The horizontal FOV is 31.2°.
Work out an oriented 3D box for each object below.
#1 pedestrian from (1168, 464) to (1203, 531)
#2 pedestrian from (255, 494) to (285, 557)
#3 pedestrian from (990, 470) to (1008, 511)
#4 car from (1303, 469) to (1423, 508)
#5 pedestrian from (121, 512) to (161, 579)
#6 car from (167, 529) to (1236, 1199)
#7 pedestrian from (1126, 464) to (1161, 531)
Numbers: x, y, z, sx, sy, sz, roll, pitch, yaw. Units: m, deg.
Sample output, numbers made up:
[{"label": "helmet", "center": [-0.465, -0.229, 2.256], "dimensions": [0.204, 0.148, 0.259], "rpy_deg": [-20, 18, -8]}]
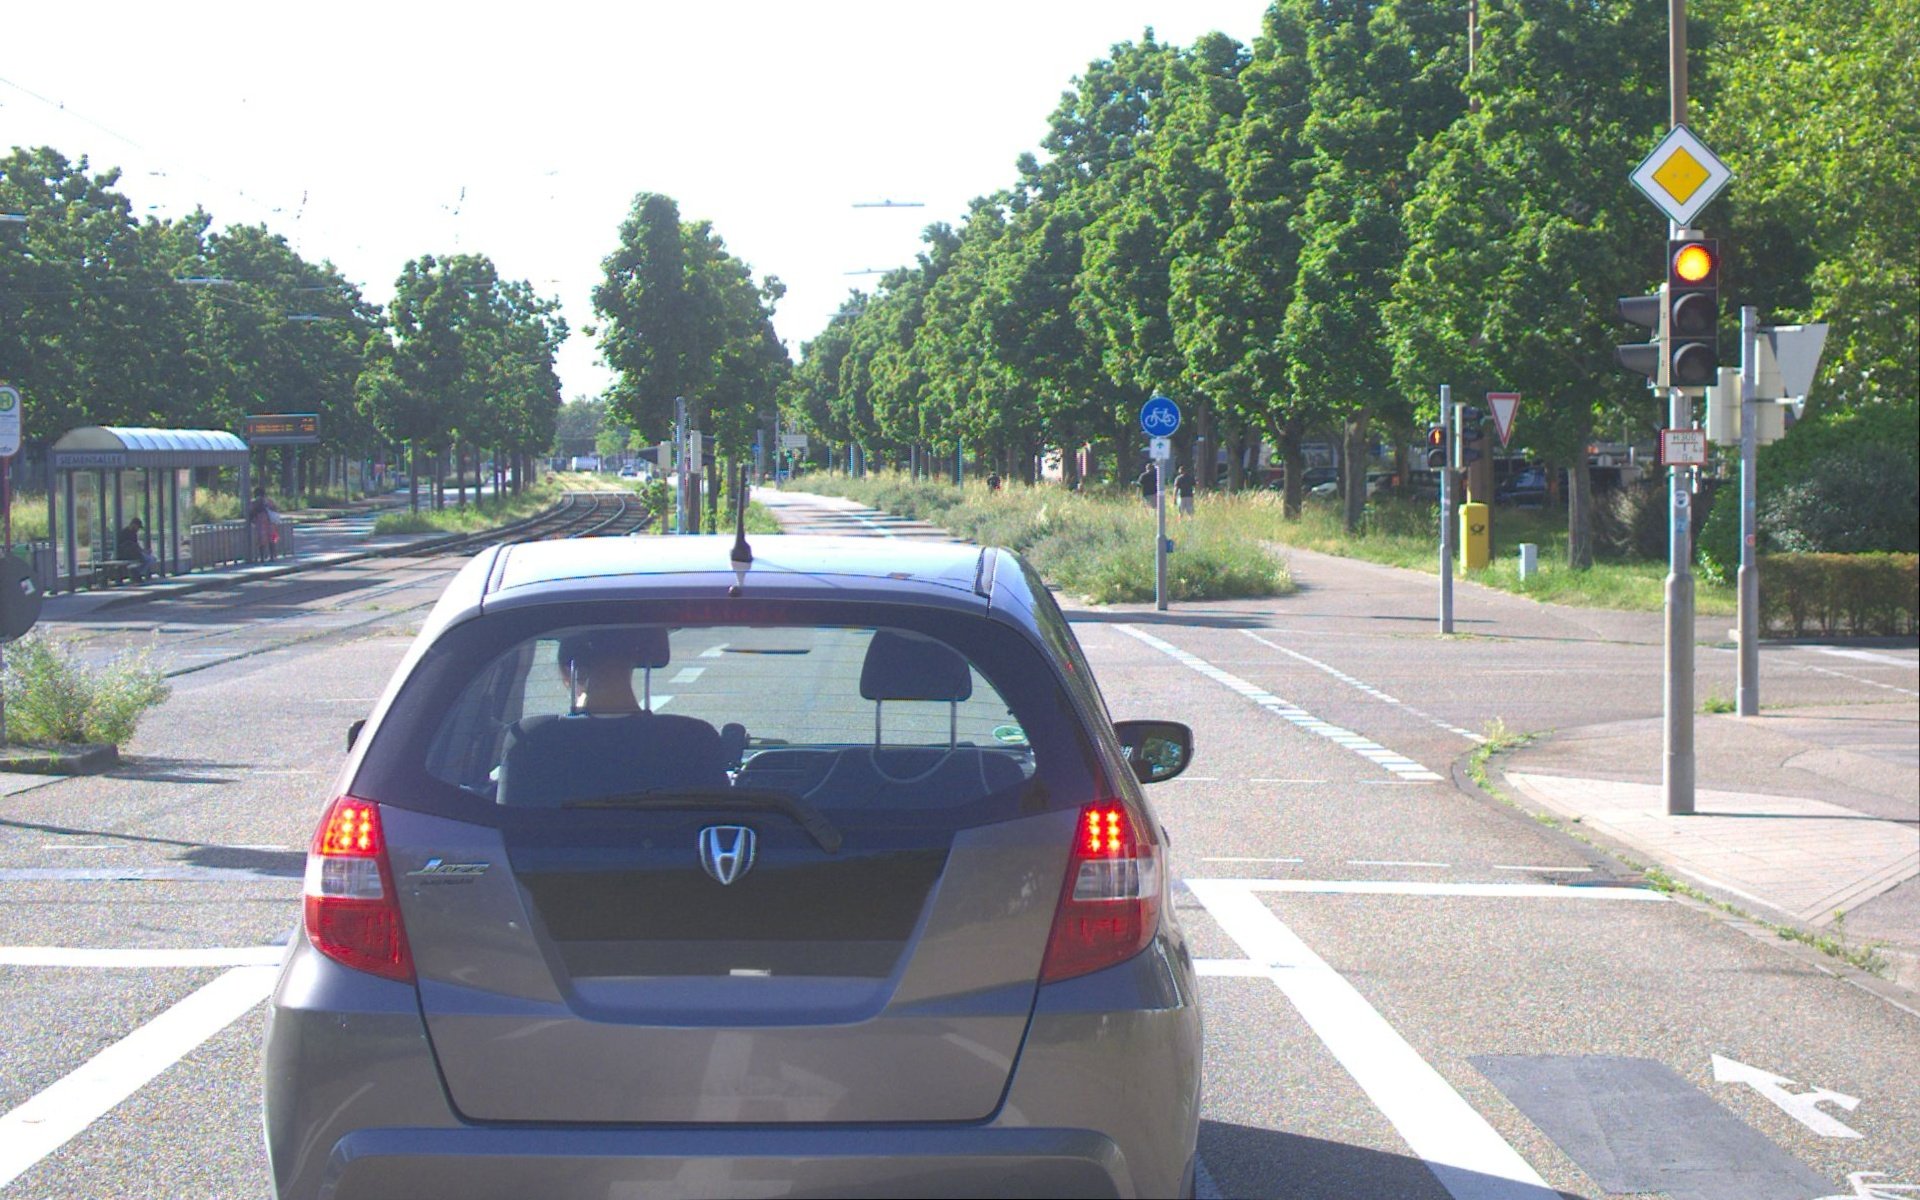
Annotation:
[{"label": "pedestrian", "center": [6.440, -2.926, 98.195], "dimensions": [0.882, 1.877, 0.875], "rpy_deg": [-1, 2, -4]}, {"label": "pedestrian", "center": [-16.068, -1.737, 80.069], "dimensions": [0.544, 1.442, 0.559], "rpy_deg": [-1, 1, -1]}, {"label": "pedestrian", "center": [1.617, -4.539, 142.718], "dimensions": [0.725, 1.685, 0.821], "rpy_deg": [0, 0, -3]}, {"label": "car", "center": [16.929, -4.686, 144.532], "dimensions": [4.630, 1.550, 2.001], "rpy_deg": [-1, 2, -6]}, {"label": "pedestrian", "center": [-15.605, -1.046, 65.517], "dimensions": [0.563, 1.252, 0.581], "rpy_deg": [-3, 1, -1]}, {"label": "car", "center": [-0.436, 0.622, 7.347], "dimensions": [1.701, 1.518, 3.710], "rpy_deg": [0, 1, -1]}, {"label": "pedestrian", "center": [5.243, -2.935, 98.141], "dimensions": [0.882, 1.877, 0.875], "rpy_deg": [-1, 2, -4]}]
